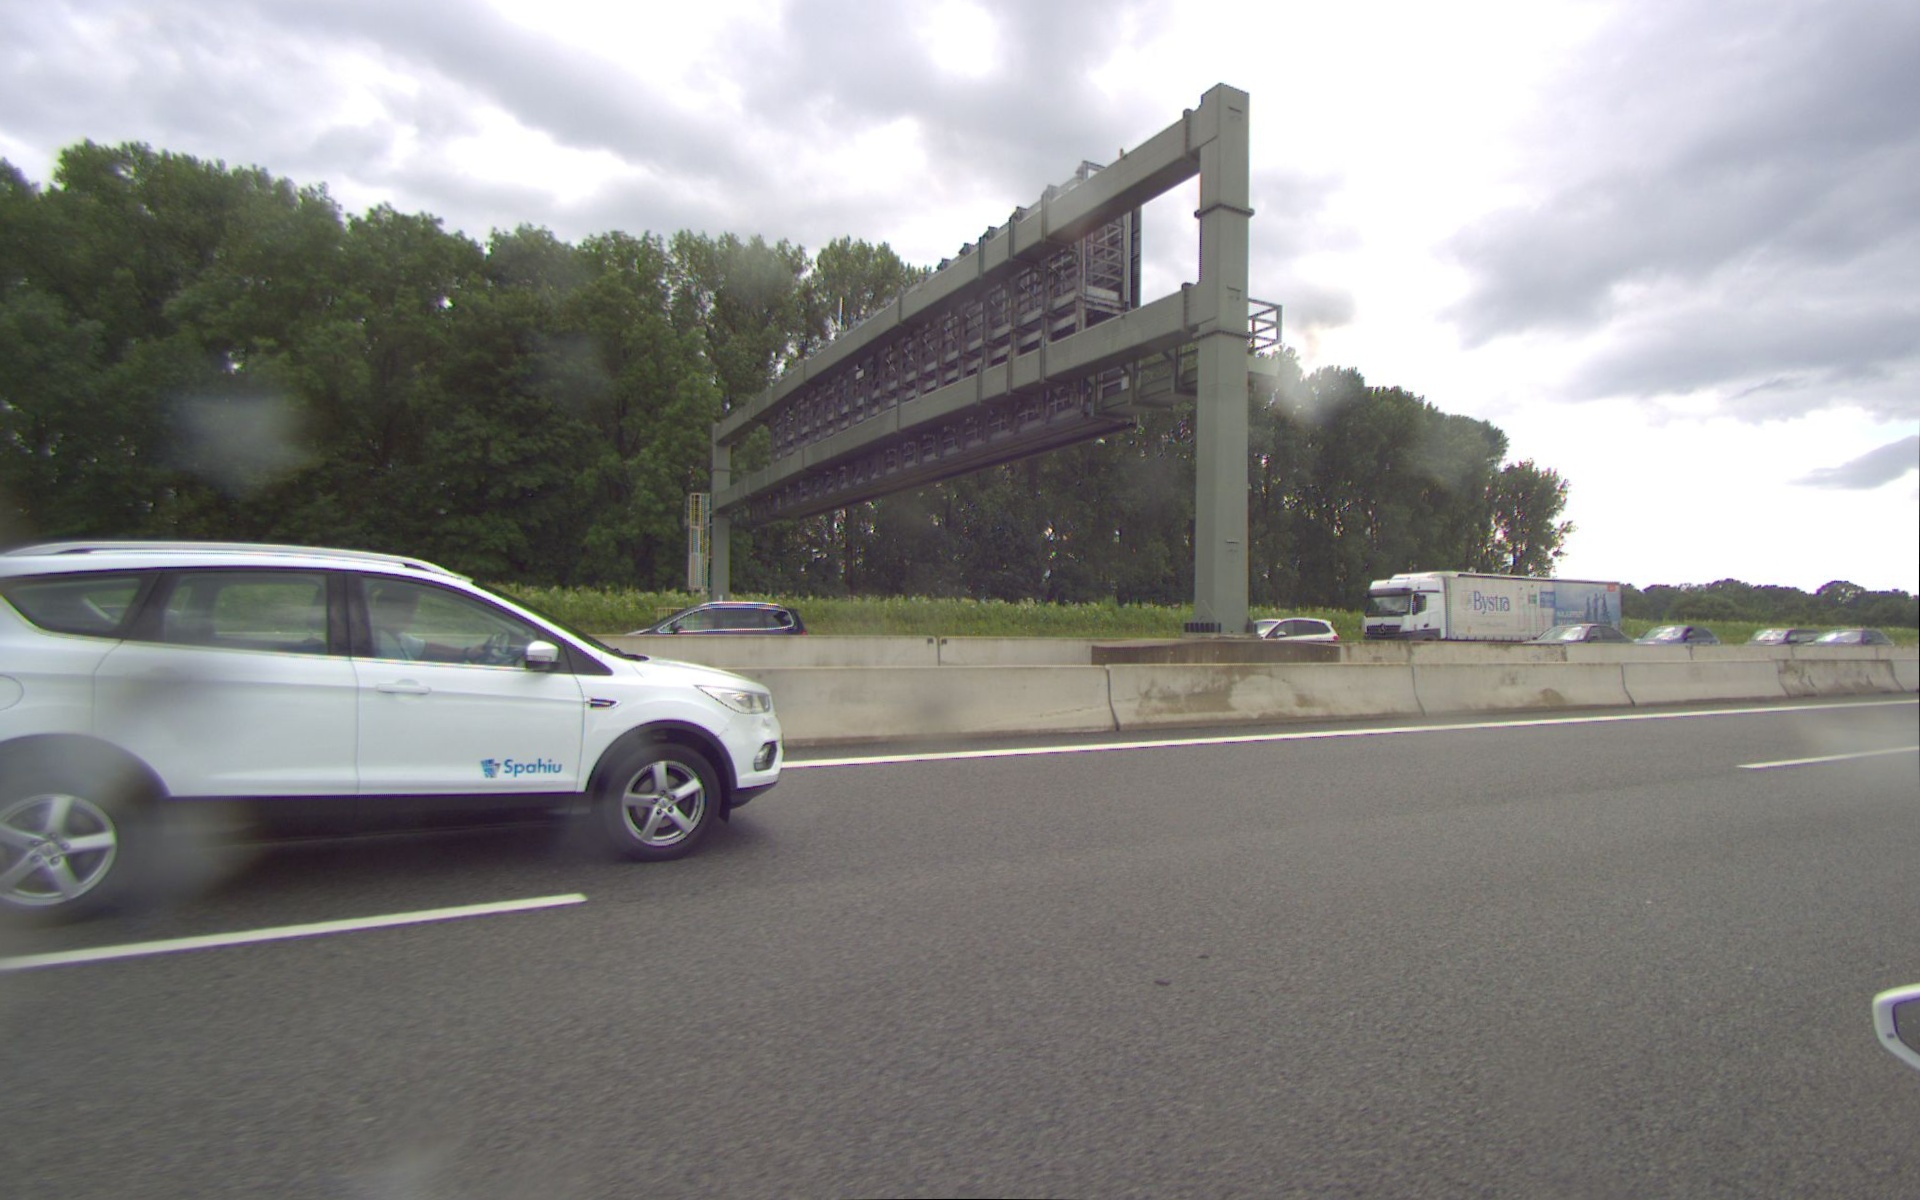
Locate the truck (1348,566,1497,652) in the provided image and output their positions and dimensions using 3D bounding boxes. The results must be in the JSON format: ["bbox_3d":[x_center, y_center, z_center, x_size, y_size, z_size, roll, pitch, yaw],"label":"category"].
[{"bbox_3d":[20.668,0.444,44.869,6.028,3.554,3.121,2,0,-30],"label":"truck"}]

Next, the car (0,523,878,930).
[{"bbox_3d":[-3.032,0.574,5.872,4.795,1.712,1.806,1,-1,-31],"label":"car"}]

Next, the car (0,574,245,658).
[{"bbox_3d":[-16.532,0.332,19.618,3.970,1.518,1.746,2,-1,-30],"label":"car"}]

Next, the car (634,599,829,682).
[{"bbox_3d":[-5.264,0.916,23.165,3.970,1.750,1.984,2,-1,-30],"label":"car"}]

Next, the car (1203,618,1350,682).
[{"bbox_3d":[9.434,1.454,29.912,3.970,1.750,1.984,2,-1,-30],"label":"car"}]

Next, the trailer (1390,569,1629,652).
[{"bbox_3d":[26.737,0.639,48.366,14.281,3.554,3.095,2,0,-30],"label":"trailer"}]
